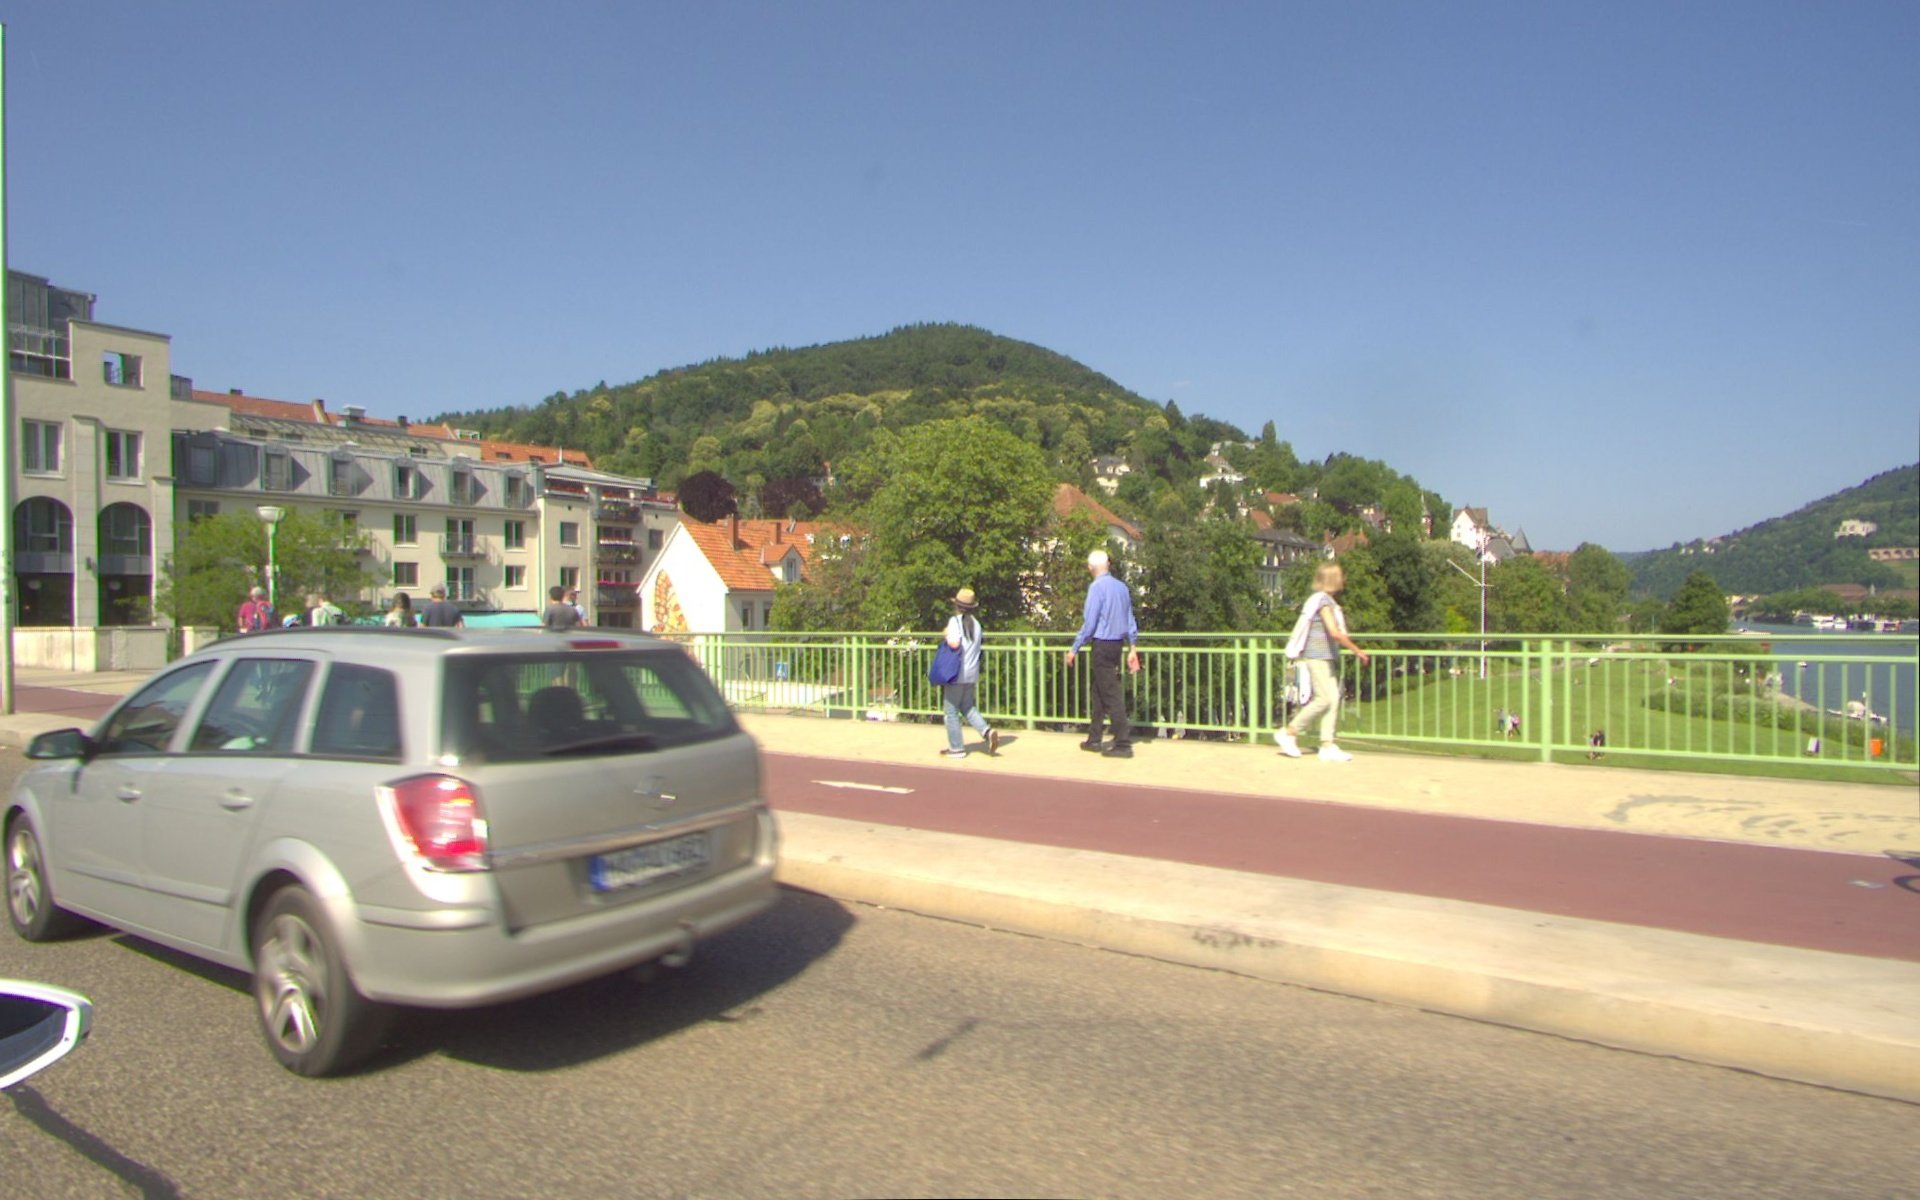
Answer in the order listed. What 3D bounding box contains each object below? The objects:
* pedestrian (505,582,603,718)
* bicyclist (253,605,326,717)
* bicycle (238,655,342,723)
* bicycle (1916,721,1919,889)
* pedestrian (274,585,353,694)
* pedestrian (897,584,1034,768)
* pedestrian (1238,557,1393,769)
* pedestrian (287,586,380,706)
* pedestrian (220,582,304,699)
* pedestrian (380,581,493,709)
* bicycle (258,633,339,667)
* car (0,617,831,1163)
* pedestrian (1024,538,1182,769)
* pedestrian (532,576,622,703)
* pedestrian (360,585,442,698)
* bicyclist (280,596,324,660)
[{"bbox_3d":[-5.436,0.645,13.427,1.001,1.741,0.737,0,2,32],"label":"pedestrian"},{"bbox_3d":[-8.748,0.776,13.064,0.659,1.402,0.532,0,2,33],"label":"bicyclist"},{"bbox_3d":[-8.768,1.144,13.092,1.637,0.776,0.512,-1,1,33],"label":"bicycle"},{"bbox_3d":[5.116,0.942,3.955,1.839,0.776,0.592,-1,1,30],"label":"bicycle"},{"bbox_3d":[-11.024,0.652,17.071,1.001,1.801,0.737,0,2,32],"label":"pedestrian"},{"bbox_3d":[0.057,0.641,9.015,0.920,1.550,0.827,0,2,32],"label":"pedestrian"},{"bbox_3d":[3.064,0.497,8.607,1.067,1.685,0.945,0,2,32],"label":"pedestrian"},{"bbox_3d":[-9.456,0.669,15.115,1.058,1.741,0.752,0,2,32],"label":"pedestrian"},{"bbox_3d":[-11.350,0.636,16.293,1.001,1.826,0.737,0,2,32],"label":"pedestrian"},{"bbox_3d":[-7.705,0.632,14.751,1.190,1.801,0.975,0,2,32],"label":"pedestrian"},{"bbox_3d":[-17.985,1.352,27.266,1.804,0.894,0.795,2,-2,-34],"label":"bicycle"},{"bbox_3d":[-2.789,0.839,4.608,4.264,1.484,1.703,-1,-2,33],"label":"car"},{"bbox_3d":[1.297,0.448,9.007,1.121,1.923,0.924,0,1,32],"label":"pedestrian"},{"bbox_3d":[-5.497,0.547,14.375,1.001,1.741,0.737,0,1,32],"label":"pedestrian"},{"bbox_3d":[-9.141,0.658,16.383,1.001,1.770,0.737,0,2,32],"label":"pedestrian"},{"bbox_3d":[-17.911,0.771,27.279,0.912,1.717,1.137,1,-2,-31],"label":"bicyclist"}]
